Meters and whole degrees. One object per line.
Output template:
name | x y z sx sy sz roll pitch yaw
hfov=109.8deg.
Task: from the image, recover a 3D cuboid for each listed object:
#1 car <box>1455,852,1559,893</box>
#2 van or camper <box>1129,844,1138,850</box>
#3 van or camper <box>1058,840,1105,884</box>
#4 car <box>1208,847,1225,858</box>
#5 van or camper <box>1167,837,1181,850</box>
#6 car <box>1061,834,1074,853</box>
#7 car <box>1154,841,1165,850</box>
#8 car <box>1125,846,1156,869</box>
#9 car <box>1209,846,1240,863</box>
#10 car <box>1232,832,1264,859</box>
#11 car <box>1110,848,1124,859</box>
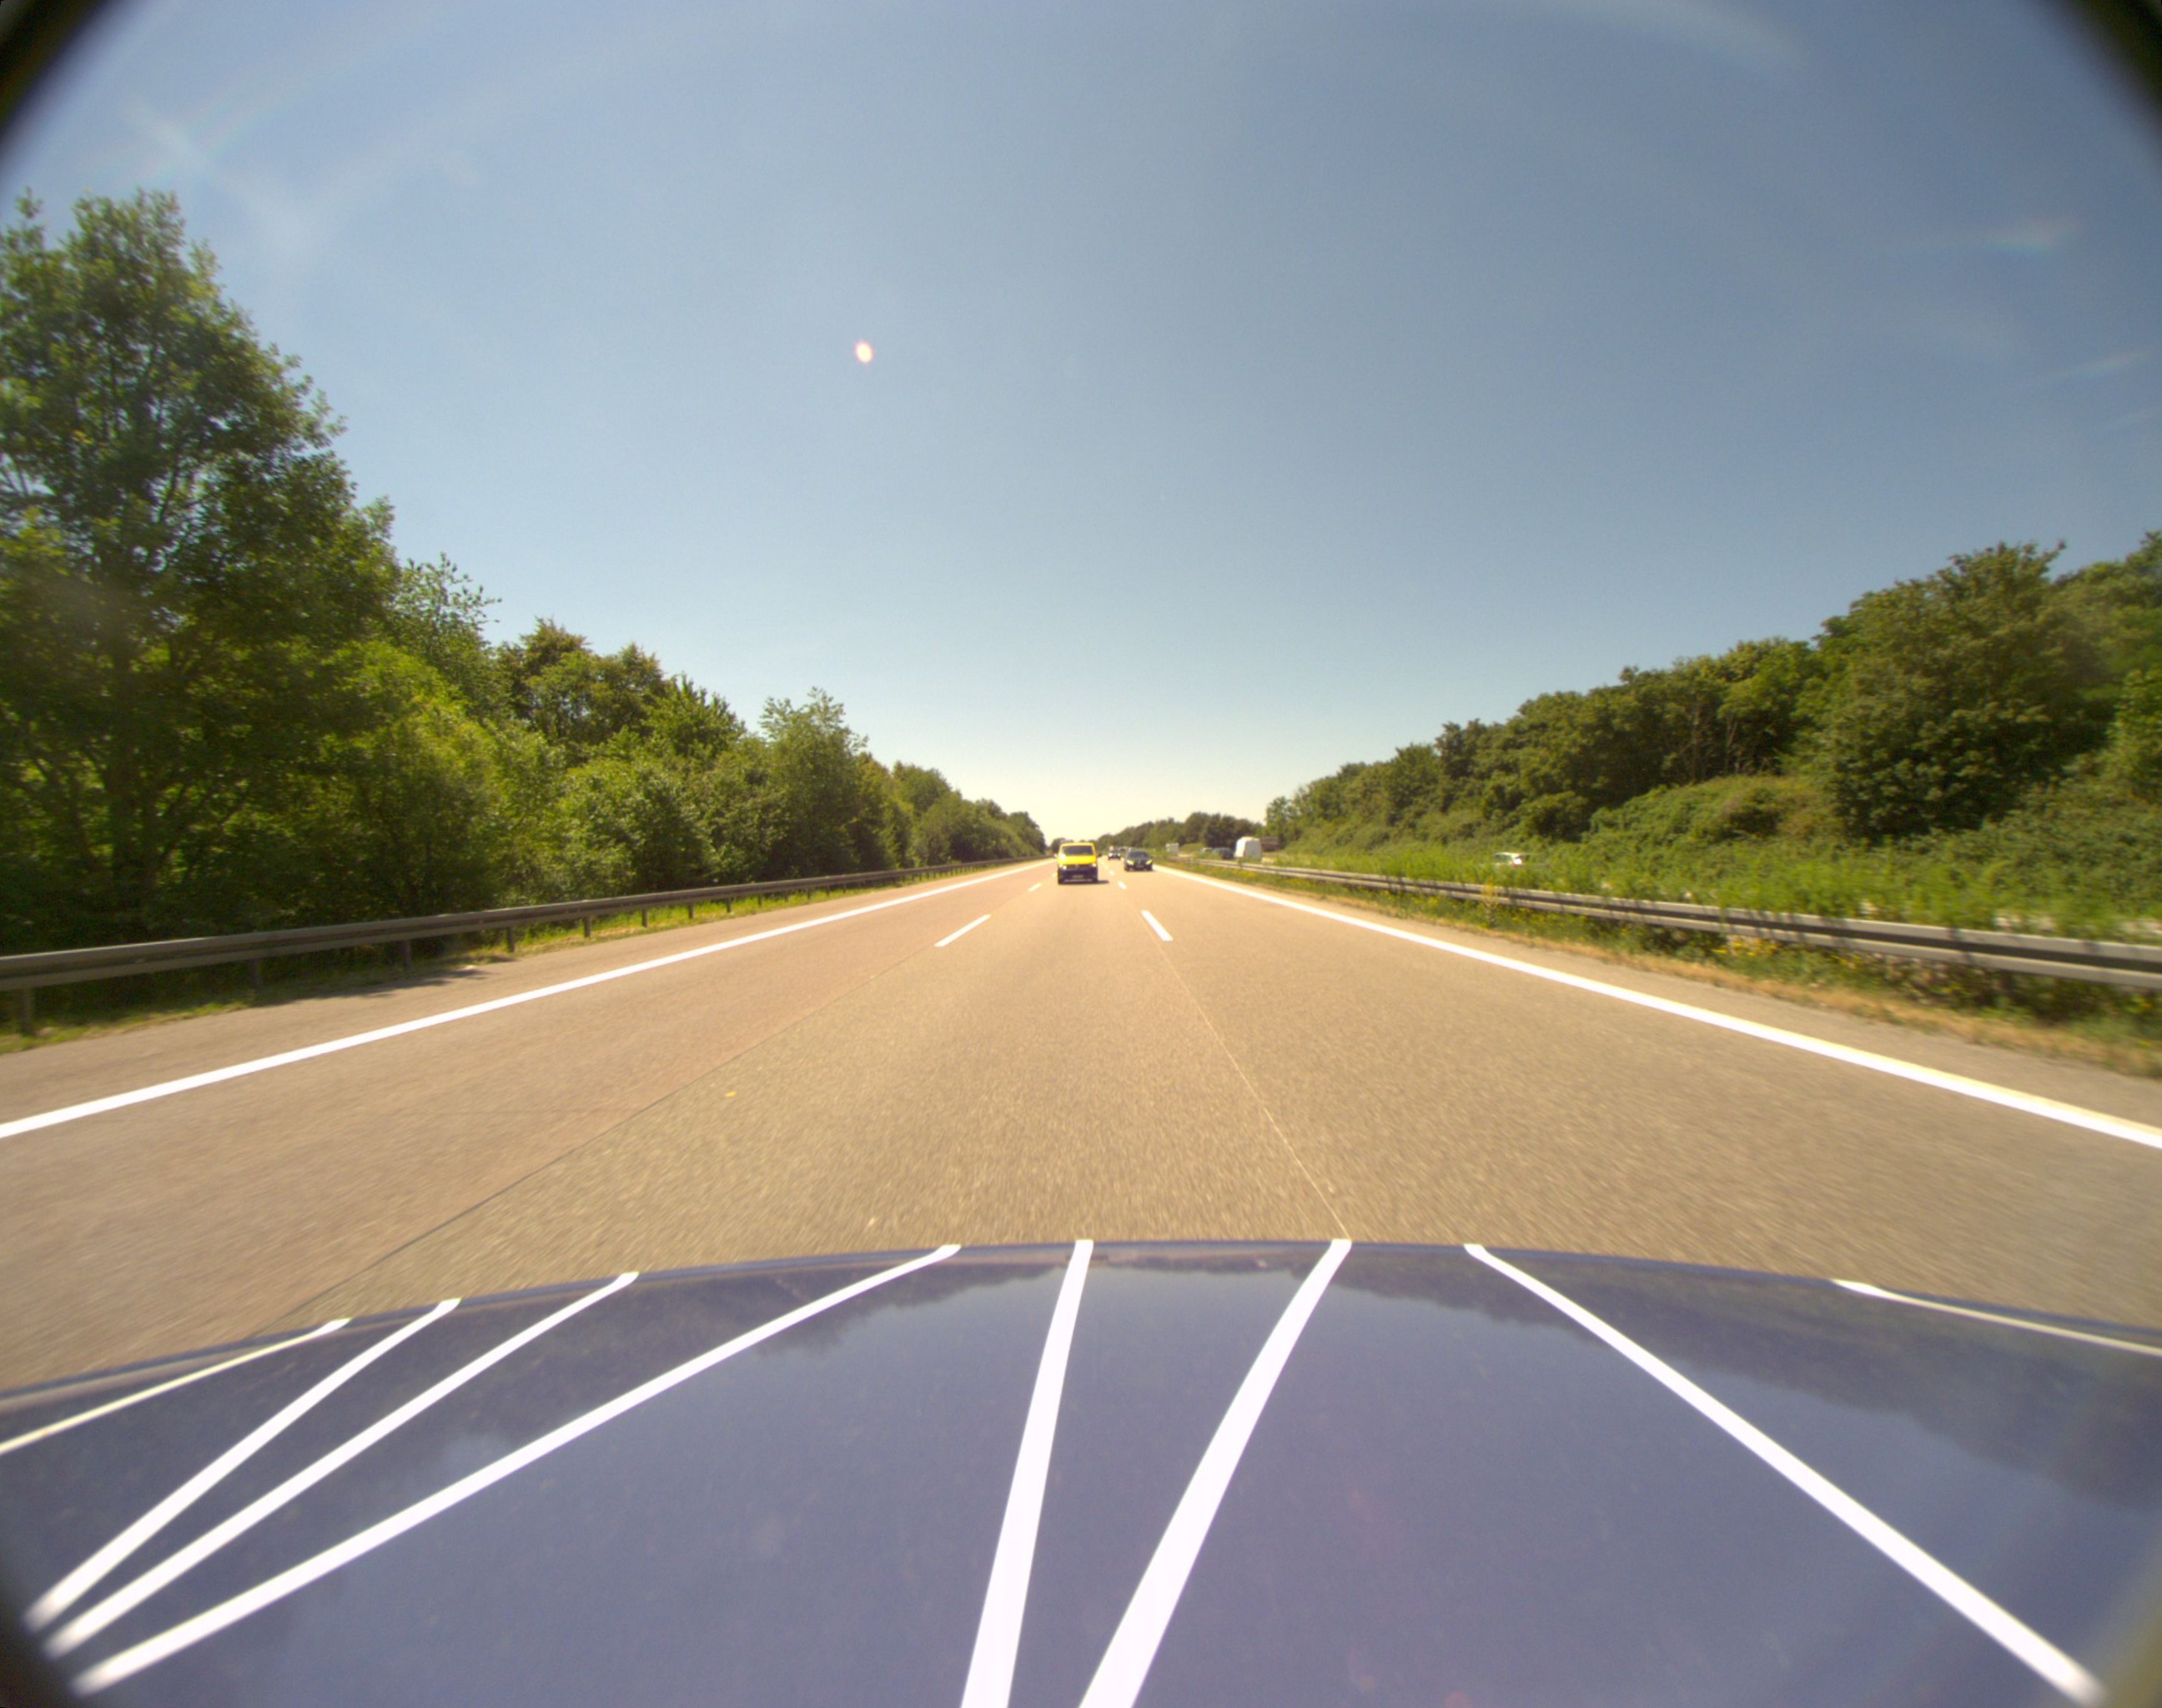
car | 18.065 0.736 32.472 1.945 1.499 4.448 -2 1 1
van or camper | 17.904 -2.372 261.152 2.612 2.174 6.746 -1 1 1
van or camper | 0.103 0.333 37.269 2.063 1.992 5.884 -1 1 2
car | 19.347 -0.261 108.532 1.746 1.499 4.415 -2 1 1
van or camper | 22.403 -2.430 183.268 2.612 2.985 7.755 -1 1 1
car | -2.798 -2.304 161.346 2.298 3.886 9.268 1 1 1
car | 20.832 -2.264 201.335 2.288 2.174 5.945 -1 1 1
car | 4.146 0.221 53.653 1.894 1.541 4.039 1 1 1
car | 13.527 -0.001 71.887 1.998 1.558 5.043 0 1 1
car | 17.755 -0.928 81.057 2.041 2.731 6.657 1 1 1
car | 5.325 -0.067 112.319 1.894 1.541 4.039 1 1 1
